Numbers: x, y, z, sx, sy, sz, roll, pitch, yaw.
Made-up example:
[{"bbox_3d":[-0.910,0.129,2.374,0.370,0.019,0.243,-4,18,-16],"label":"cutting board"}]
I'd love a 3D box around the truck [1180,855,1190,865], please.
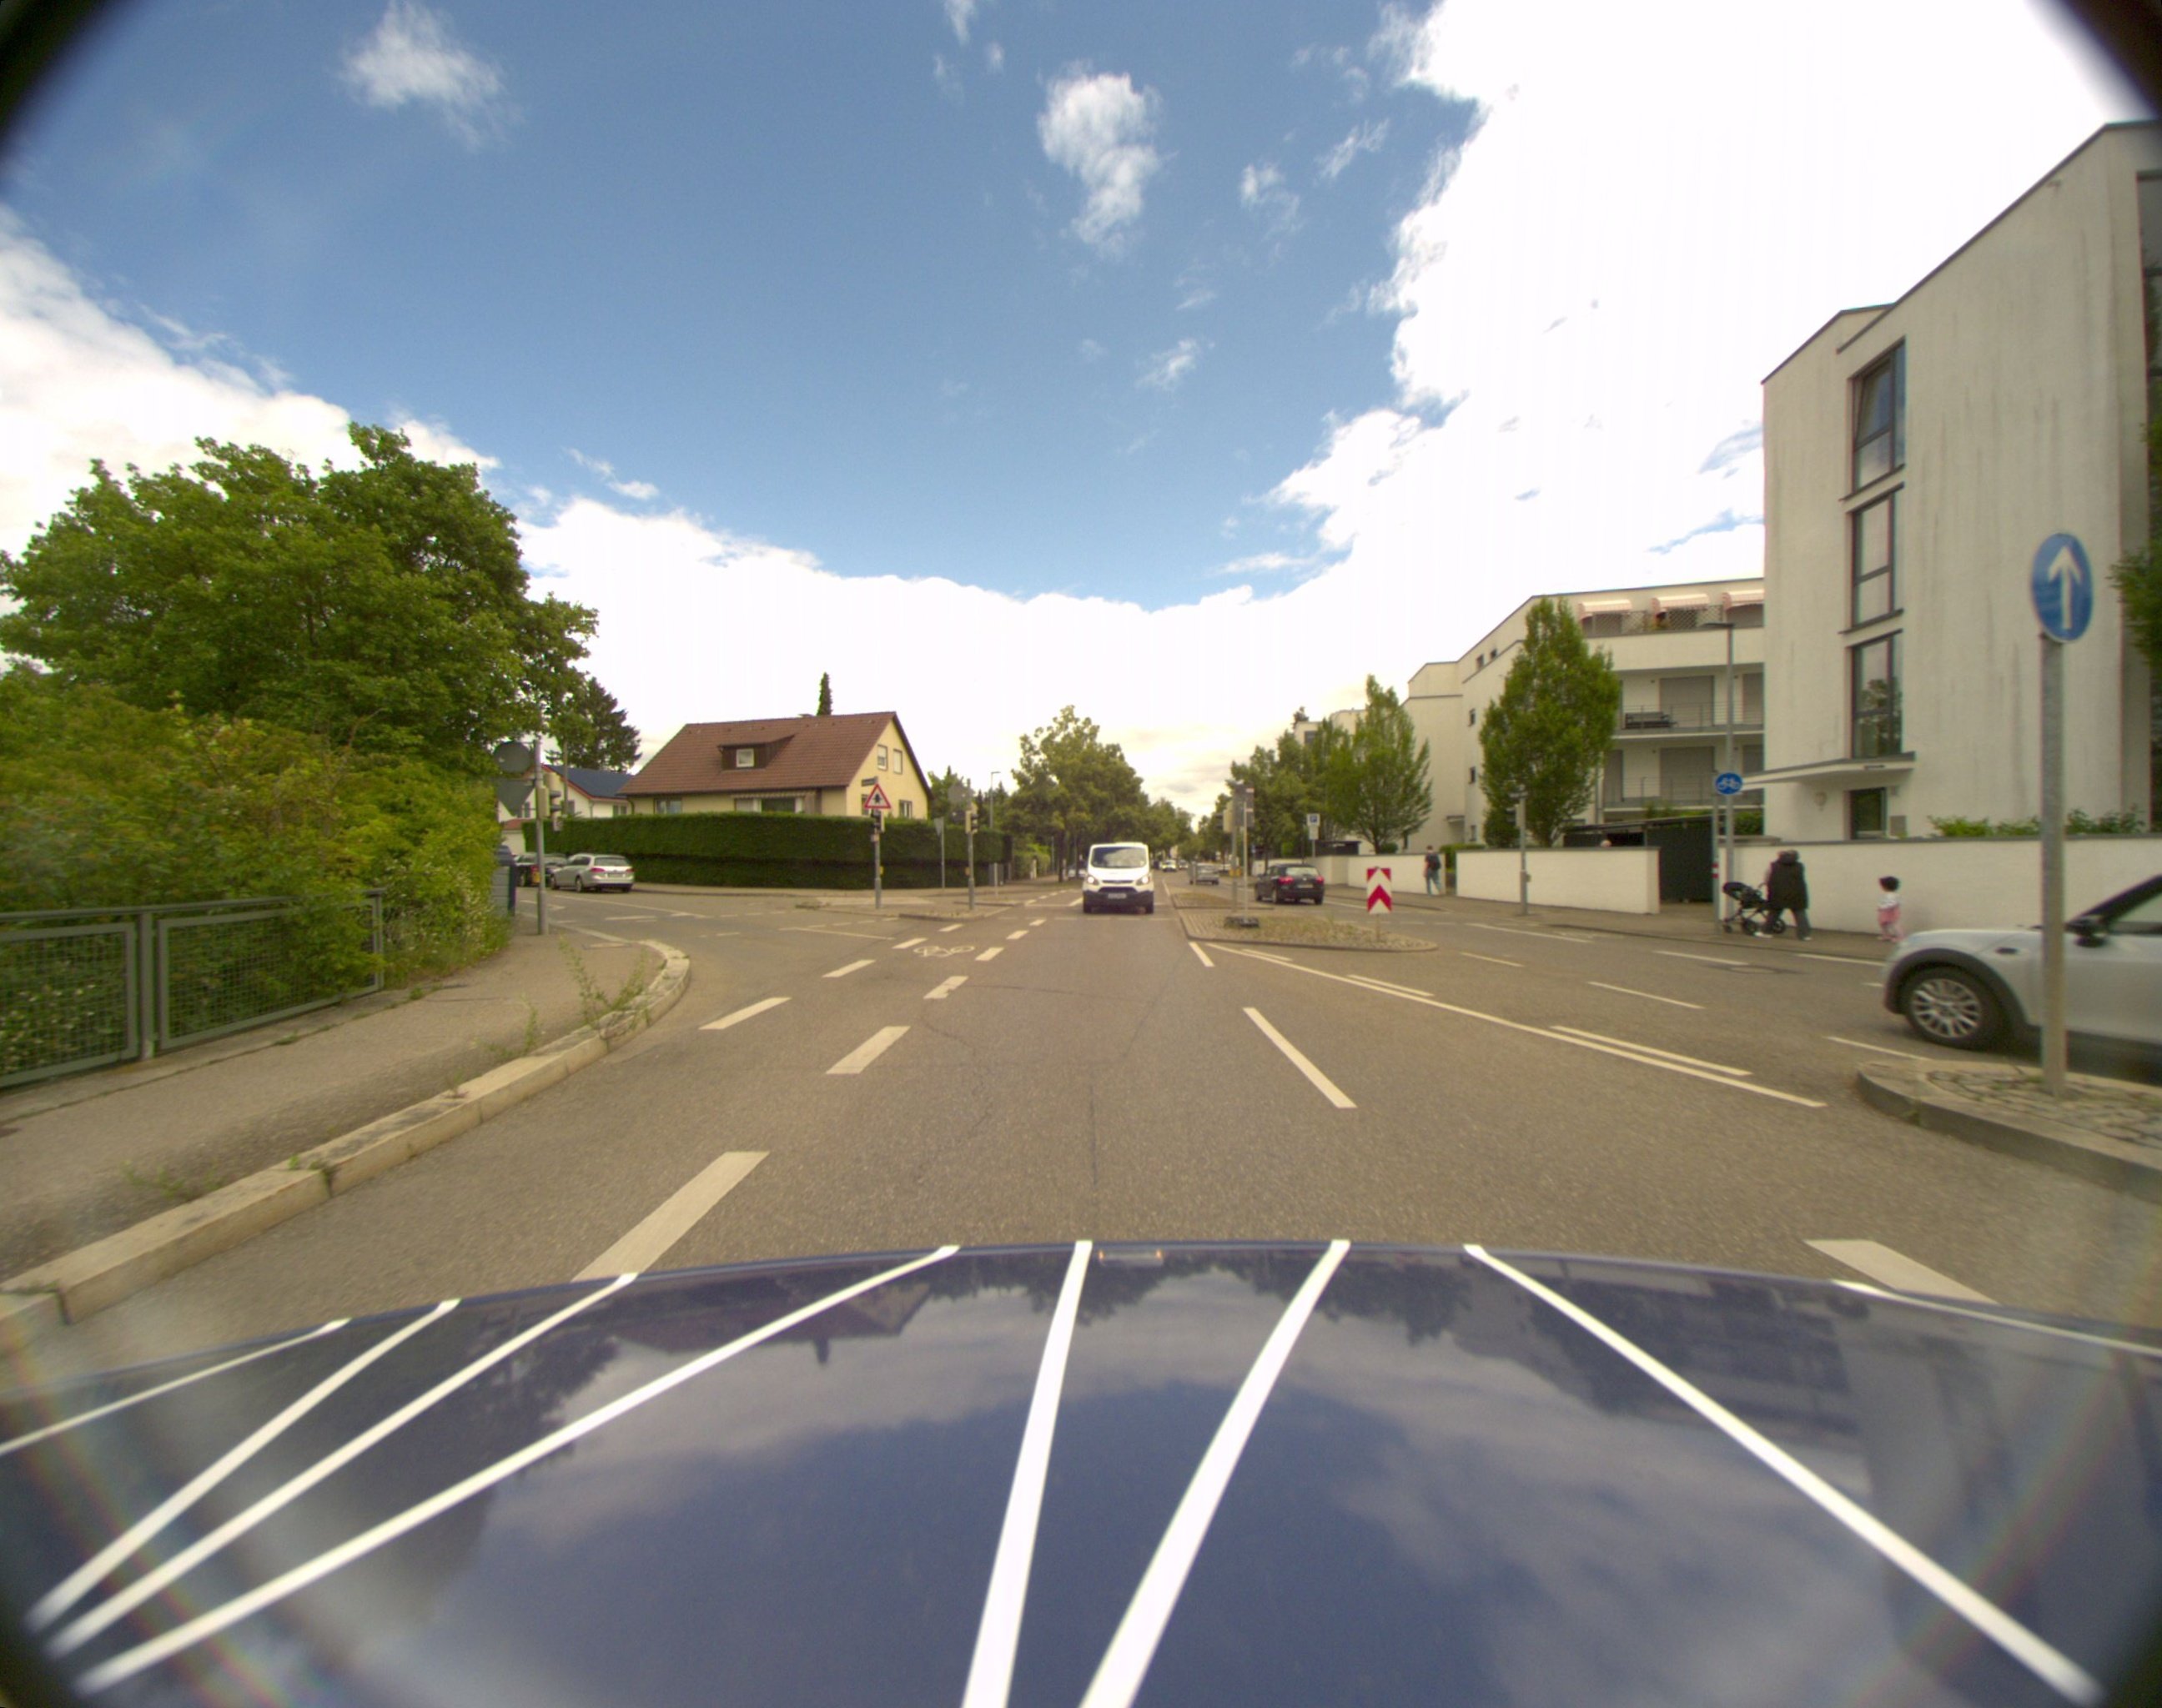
[{"bbox_3d":[18.696,1.086,136.891,1.617,1.649,4.004,0,0,11],"label":"truck"}]

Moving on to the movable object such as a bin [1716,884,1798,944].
[{"bbox_3d":[12.056,1.051,13.579,0.498,0.954,0.986,-5,0,-1],"label":"movable object such as a bin"}]

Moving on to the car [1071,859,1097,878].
[{"bbox_3d":[0.238,1.051,56.506,1.561,1.343,3.542,1,0,6],"label":"car"}]

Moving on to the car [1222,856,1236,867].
[{"bbox_3d":[21.966,1.093,112.628,1.915,1.643,4.004,0,0,13],"label":"car"}]

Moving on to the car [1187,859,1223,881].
[{"bbox_3d":[8.597,1.092,52.791,1.803,1.435,3.948,0,0,-1],"label":"car"}]

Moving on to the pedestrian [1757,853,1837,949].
[{"bbox_3d":[12.019,0.774,12.775,0.532,1.534,0.732,-5,0,-1],"label":"pedestrian"}]

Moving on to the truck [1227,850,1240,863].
[{"bbox_3d":[33.005,0.561,164.690,2.639,2.757,6.263,0,0,12],"label":"truck"}]

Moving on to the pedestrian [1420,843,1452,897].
[{"bbox_3d":[12.903,0.571,27.629,0.650,1.936,0.872,-3,1,1],"label":"pedestrian"}]

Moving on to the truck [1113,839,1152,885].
[{"bbox_3d":[3.094,0.459,44.837,2.035,2.555,6.061,0,0,6],"label":"truck"}]

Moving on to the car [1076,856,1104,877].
[{"bbox_3d":[0.764,1.012,62.463,1.769,1.626,4.551,0,0,7],"label":"car"}]

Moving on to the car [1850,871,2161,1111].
[{"bbox_3d":[7.339,0.851,4.485,1.647,1.401,3.818,0,0,-2],"label":"car"}]

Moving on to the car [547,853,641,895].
[{"bbox_3d":[-18.715,0.726,29.153,3.911,1.435,1.718,1,0,36],"label":"car"}]

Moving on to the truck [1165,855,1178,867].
[{"bbox_3d":[13.545,1.014,113.373,1.613,1.780,4.004,0,0,11],"label":"truck"}]

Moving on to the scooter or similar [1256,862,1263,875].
[{"bbox_3d":[16.422,1.362,70.070,0.434,1.159,1.328,-3,0,7],"label":"scooter or similar"}]

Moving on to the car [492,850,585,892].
[{"bbox_3d":[-23.299,0.673,32.606,4.127,1.631,2.004,1,1,36],"label":"car"}]

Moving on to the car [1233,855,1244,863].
[{"bbox_3d":[28.821,0.906,139.214,1.887,1.606,4.004,0,0,13],"label":"car"}]

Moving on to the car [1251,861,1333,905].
[{"bbox_3d":[7.465,0.994,27.225,1.725,1.383,3.917,1,0,-2],"label":"car"}]

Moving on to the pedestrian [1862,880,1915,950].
[{"bbox_3d":[12.823,0.961,12.068,0.326,1.056,0.444,-3,0,0],"label":"pedestrian"}]

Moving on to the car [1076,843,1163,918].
[{"bbox_3d":[1.297,0.699,22.789,2.074,1.956,5.561,1,0,8],"label":"car"}]
